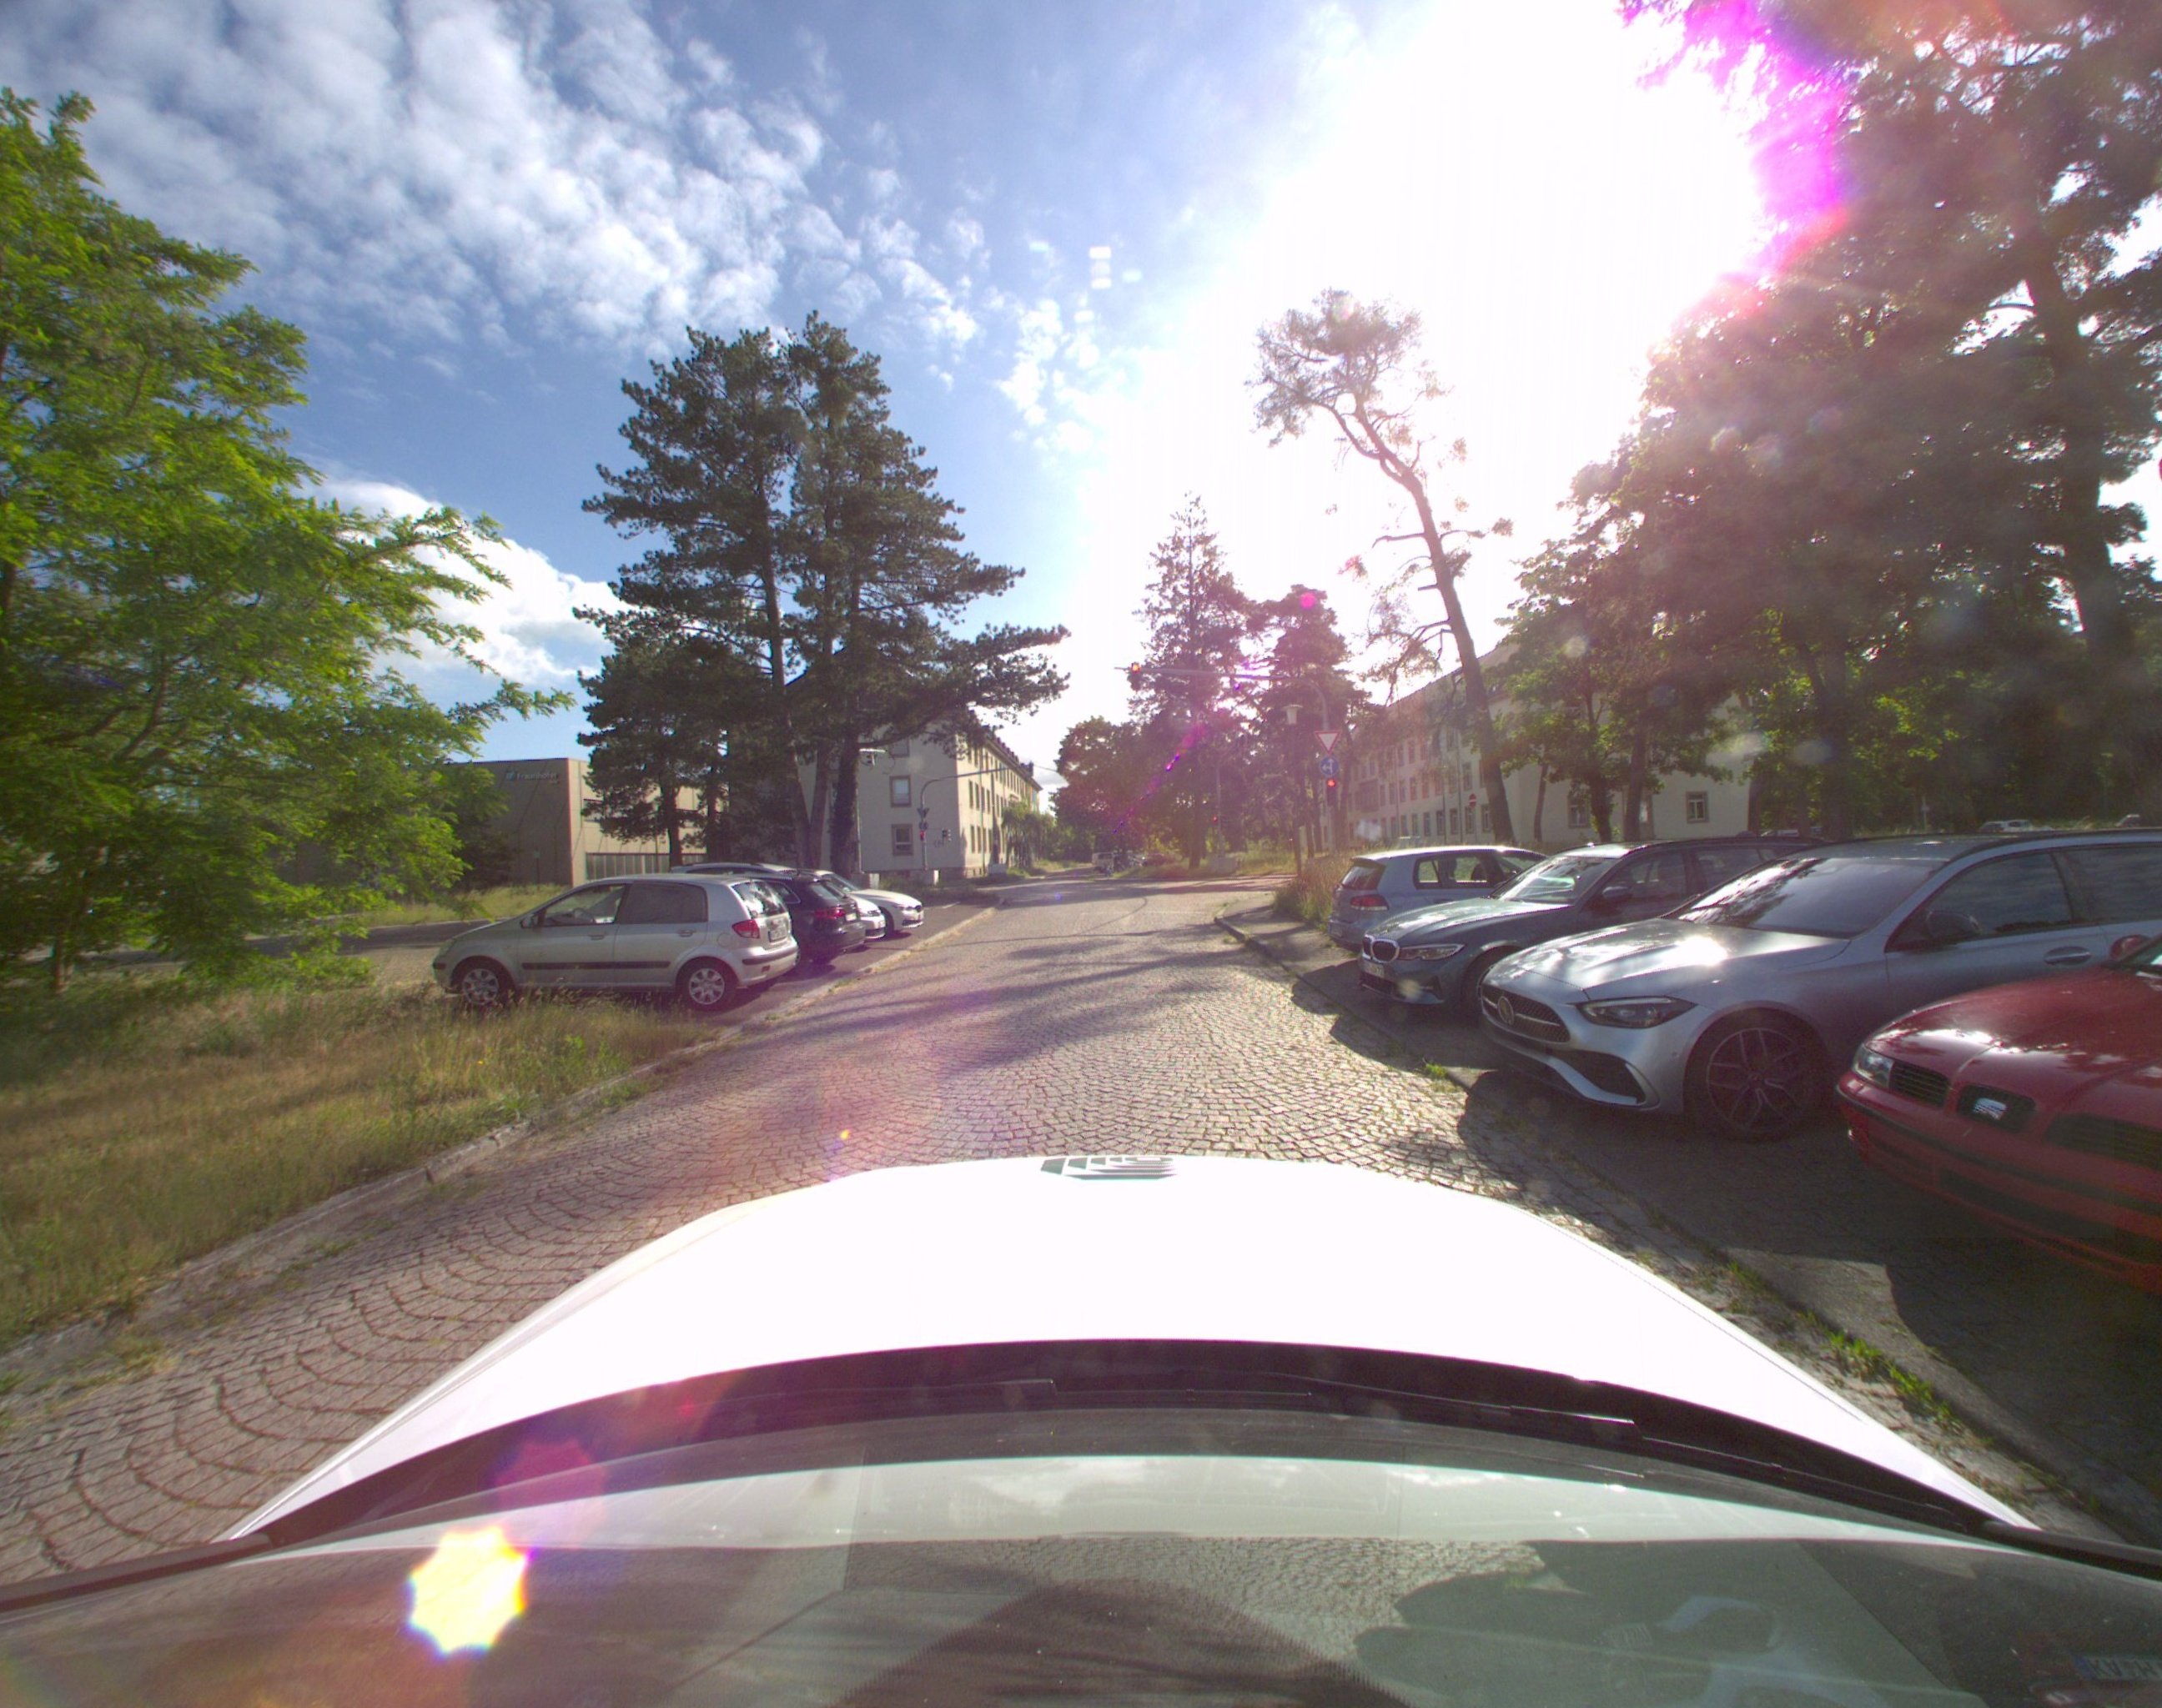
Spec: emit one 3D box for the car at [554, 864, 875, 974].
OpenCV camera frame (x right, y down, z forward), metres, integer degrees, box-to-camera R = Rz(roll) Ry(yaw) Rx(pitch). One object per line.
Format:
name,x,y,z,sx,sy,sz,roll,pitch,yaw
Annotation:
car,-5.325,0.912,12.245,3.975,1.480,1.802,0,0,-1

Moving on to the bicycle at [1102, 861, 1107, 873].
bicycle,2.006,1.107,68.938,0.415,1.010,1.484,0,-1,3

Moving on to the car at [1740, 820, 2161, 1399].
car,4.861,0.563,2.579,4.111,1.449,1.638,-4,0,2

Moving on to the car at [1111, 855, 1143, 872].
car,4.142,0.846,73.709,2.775,1.467,1.669,0,-1,-3

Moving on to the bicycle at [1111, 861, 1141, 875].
bicycle,3.292,1.016,59.243,2.106,1.010,0.619,0,-1,-6

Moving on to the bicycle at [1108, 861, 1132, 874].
bicycle,3.002,1.061,62.722,1.835,1.010,0.634,0,-1,-6

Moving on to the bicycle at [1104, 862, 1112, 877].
bicycle,1.862,1.044,55.638,0.466,1.010,1.585,0,-1,-1

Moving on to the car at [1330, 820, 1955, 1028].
car,4.835,0.578,7.512,4.541,1.415,1.638,-4,0,2

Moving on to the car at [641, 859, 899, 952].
car,-5.648,0.906,15.217,4.068,1.593,1.884,0,0,-1

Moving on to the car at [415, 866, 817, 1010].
car,-5.250,0.910,9.569,3.735,1.487,1.645,0,0,-1

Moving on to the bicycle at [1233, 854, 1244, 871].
bicycle,9.072,0.473,46.985,0.300,0.961,1.585,0,-1,-1

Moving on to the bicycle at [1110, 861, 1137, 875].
bicycle,3.189,1.039,60.960,2.002,1.010,0.631,0,-1,-6

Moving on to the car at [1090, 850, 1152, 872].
car,3.769,0.679,77.327,5.533,2.014,1.989,0,-1,-16

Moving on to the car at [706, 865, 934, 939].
car,-5.509,0.990,17.613,4.321,1.468,1.830,0,0,-1

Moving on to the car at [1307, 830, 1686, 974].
car,5.021,0.554,10.251,3.867,1.415,1.638,-4,0,2

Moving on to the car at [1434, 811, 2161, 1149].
car,4.705,0.587,4.814,4.414,1.415,1.782,-4,0,2

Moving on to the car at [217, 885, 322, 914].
car,-46.760,2.591,47.033,1.894,1.433,4.003,-2,-1,3
